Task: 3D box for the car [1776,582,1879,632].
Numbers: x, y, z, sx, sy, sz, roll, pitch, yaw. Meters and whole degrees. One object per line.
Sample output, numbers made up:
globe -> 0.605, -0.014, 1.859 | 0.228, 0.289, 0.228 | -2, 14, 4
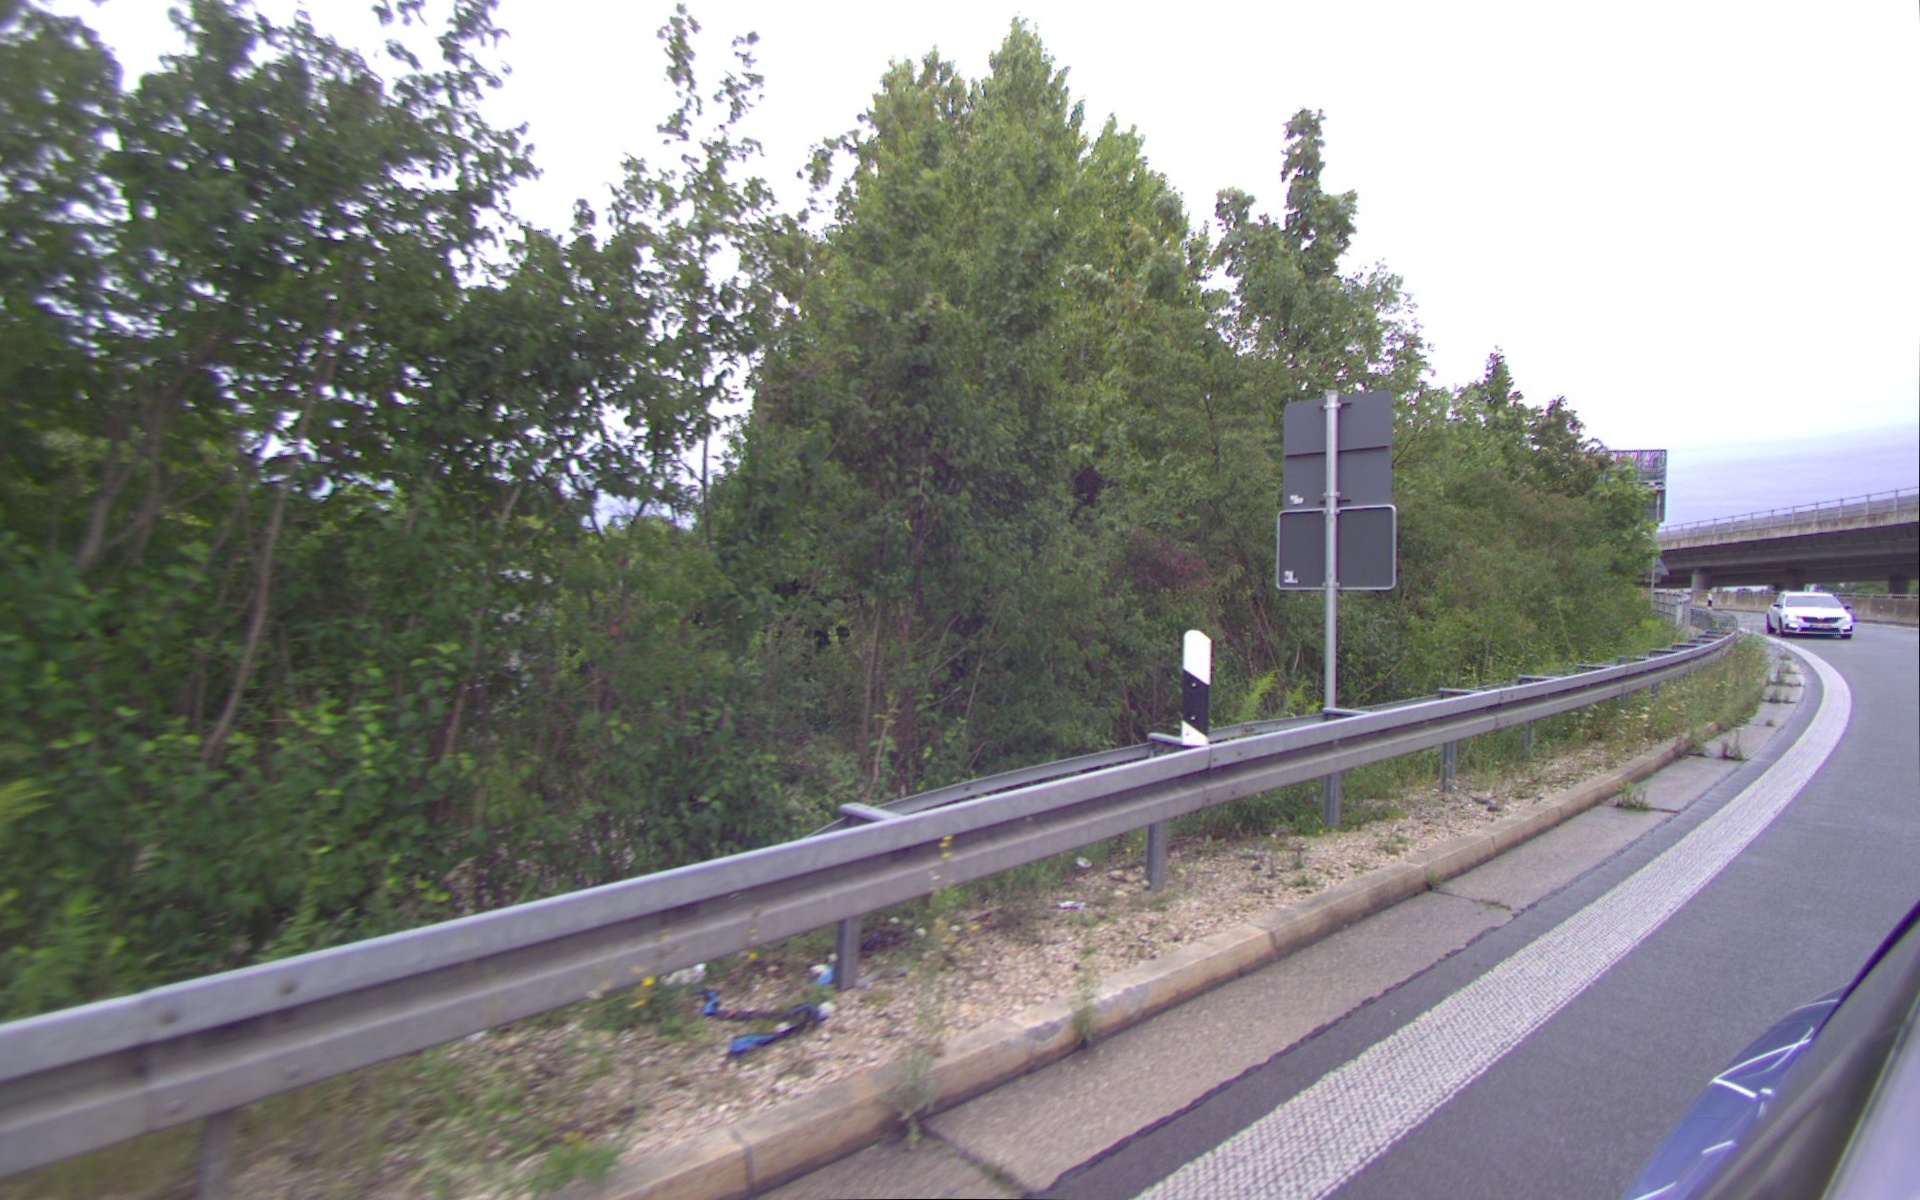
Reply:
car -> 28.102, 0.168, 32.936 | 1.902, 1.465, 4.504 | 1, 2, 32
